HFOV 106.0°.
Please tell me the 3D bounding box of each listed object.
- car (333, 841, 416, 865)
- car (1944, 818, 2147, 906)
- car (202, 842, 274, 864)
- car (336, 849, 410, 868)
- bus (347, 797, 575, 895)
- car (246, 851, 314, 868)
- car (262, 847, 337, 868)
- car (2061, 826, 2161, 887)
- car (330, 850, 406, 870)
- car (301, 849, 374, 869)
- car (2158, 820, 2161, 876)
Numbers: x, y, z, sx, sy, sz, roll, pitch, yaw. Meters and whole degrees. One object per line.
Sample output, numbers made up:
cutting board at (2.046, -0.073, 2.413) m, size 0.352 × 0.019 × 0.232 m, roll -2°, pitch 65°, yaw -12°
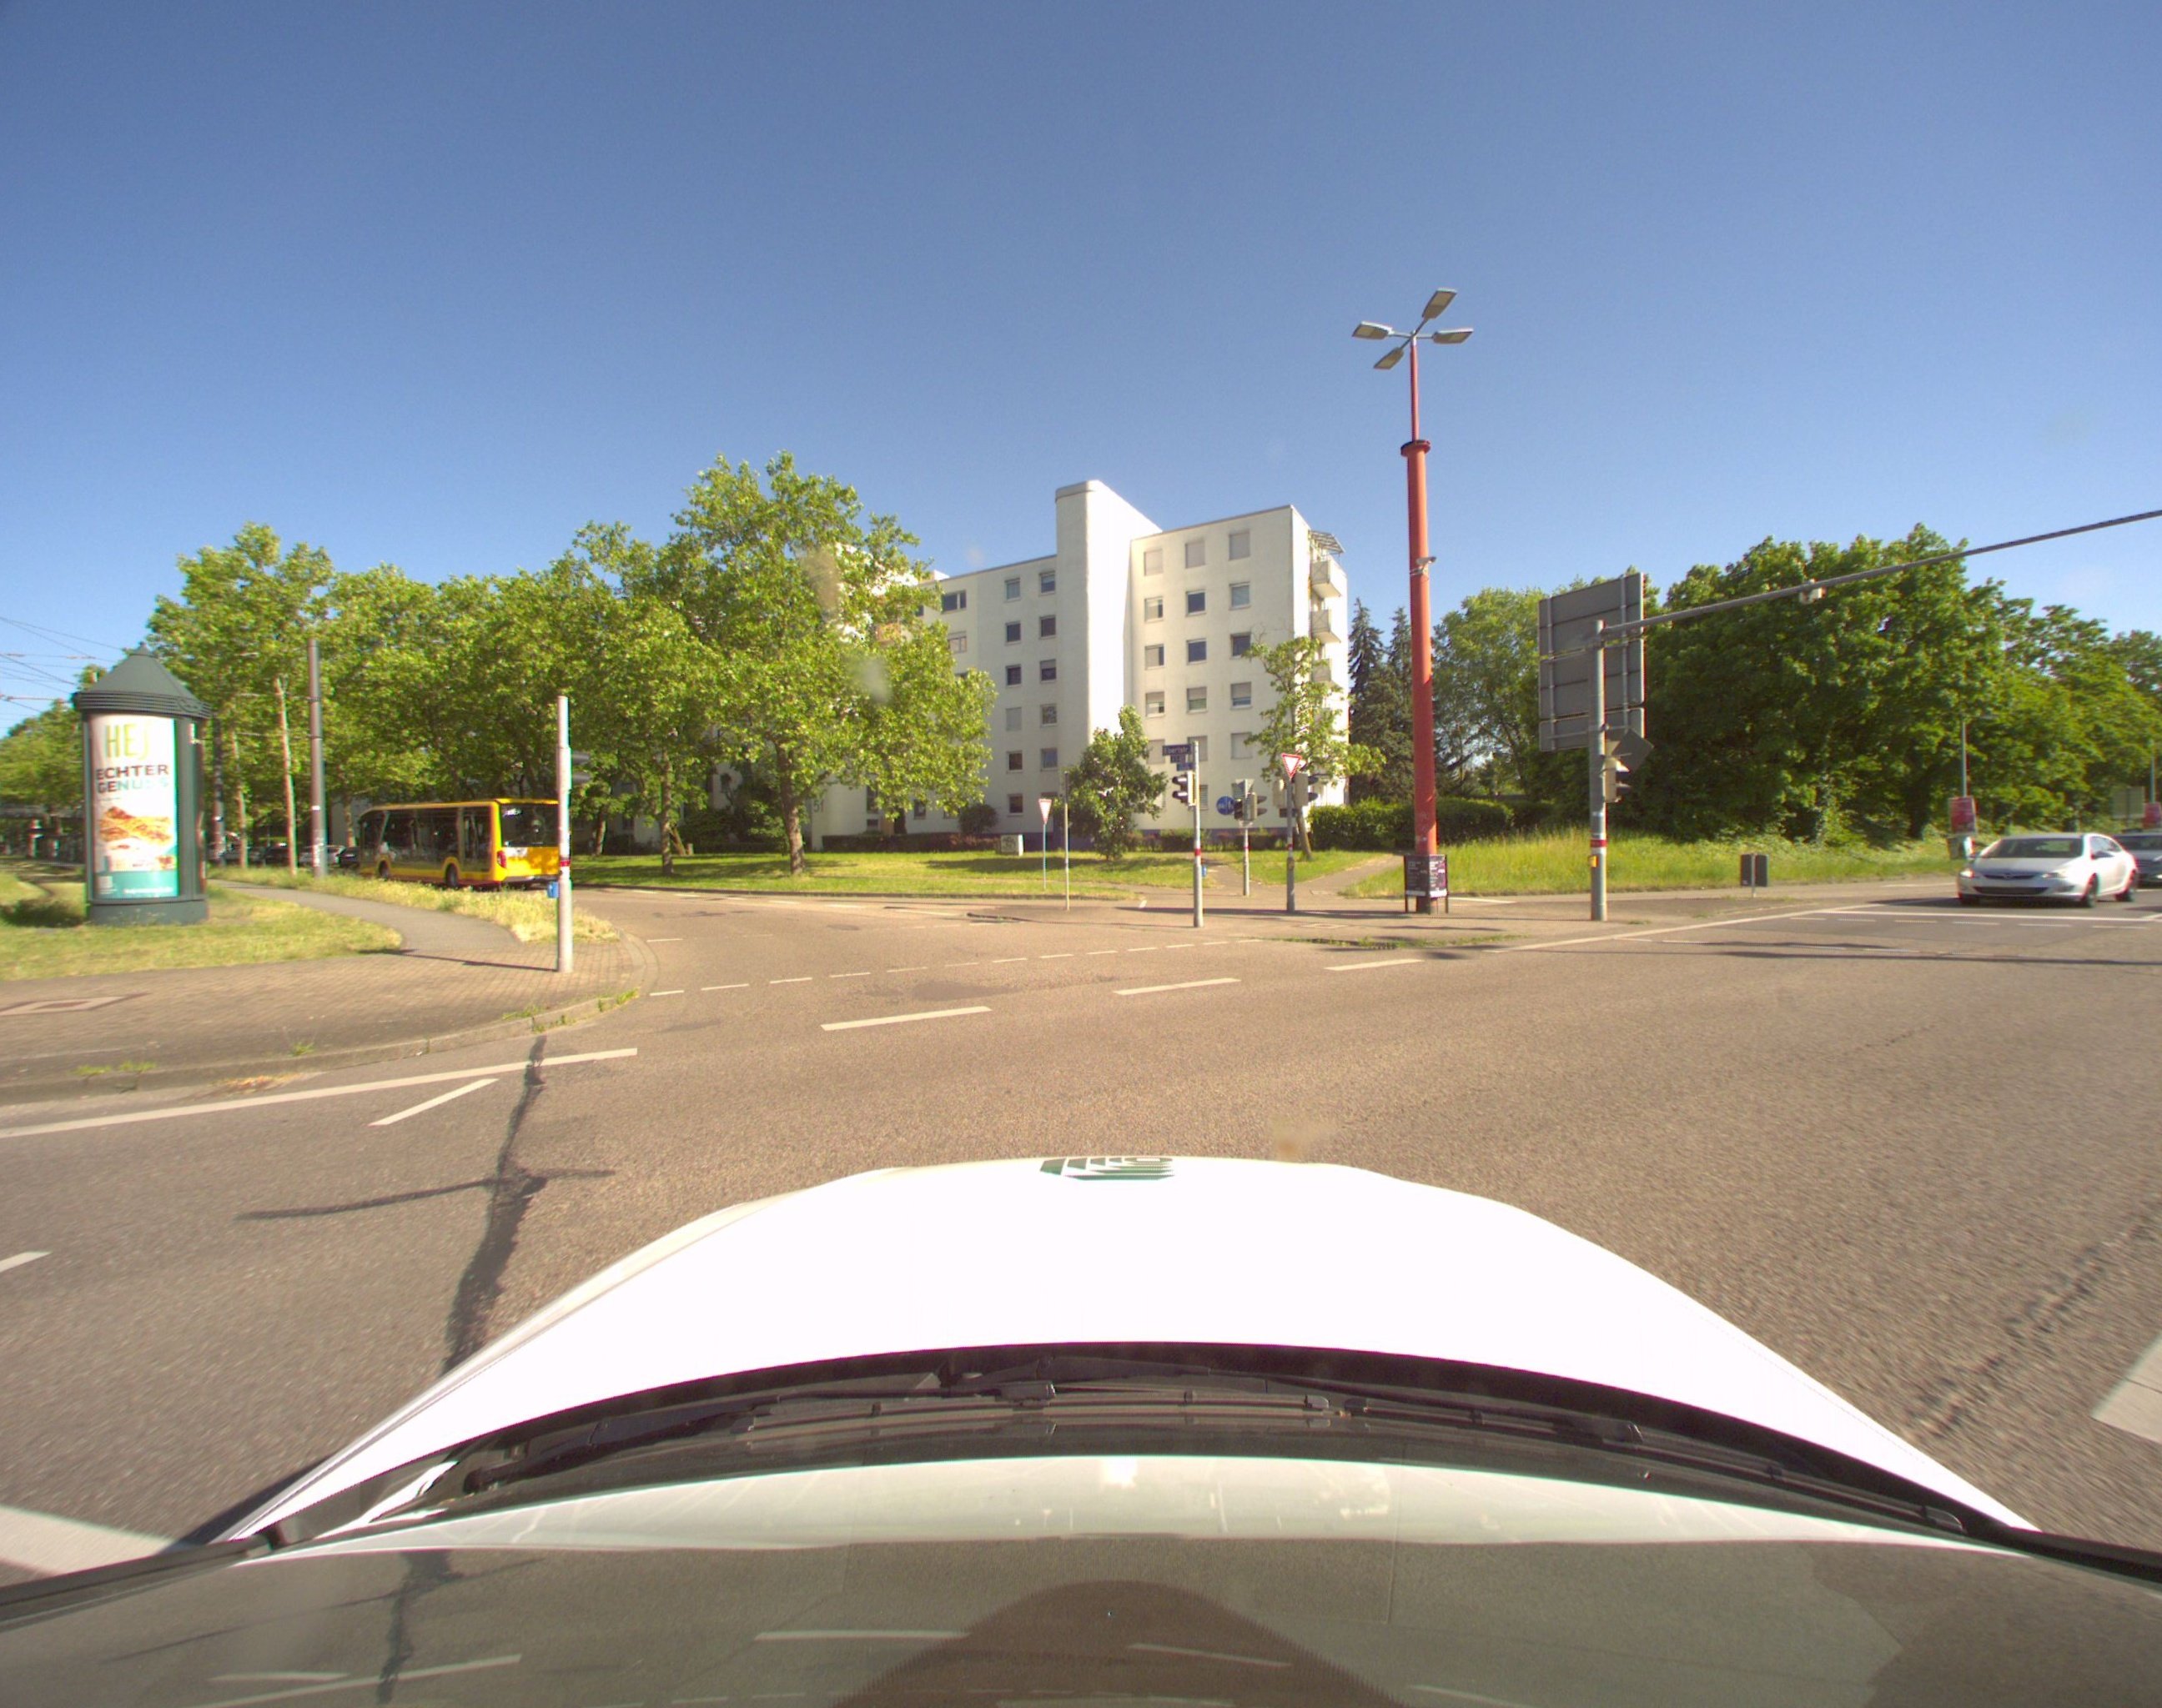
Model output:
car at (-47.591, -0.076, 54.944) m, size 3.924 × 1.592 × 1.655 m, roll 0°, pitch 2°, yaw -7°
car at (20.177, 0.125, 17.024) m, size 4.229 × 1.652 × 1.866 m, roll -1°, pitch 0°, yaw -28°
car at (-81.136, -0.127, 78.456) m, size 4.339 × 1.983 × 1.929 m, roll -1°, pitch 1°, yaw -18°
car at (-45.965, 0.304, 52.929) m, size 3.395 × 1.146 × 1.303 m, roll 0°, pitch 2°, yaw -12°
bus at (-24.346, -0.424, 31.582) m, size 12.375 × 3.260 × 2.671 m, roll 1°, pitch 2°, yaw 31°
car at (-61.627, 0.413, 62.723) m, size 3.420 × 1.188 × 1.437 m, roll -1°, pitch 2°, yaw -21°
car at (-58.273, 0.236, 60.805) m, size 3.646 × 1.460 × 1.606 m, roll 0°, pitch 2°, yaw -18°
car at (28.332, 0.035, 21.812) m, size 4.010 × 1.513 × 1.874 m, roll -1°, pitch 0°, yaw -28°
car at (-44.434, 0.377, 50.806) m, size 3.266 × 1.157 × 1.356 m, roll 0°, pitch 2°, yaw -11°
car at (-53.842, 0.341, 59.020) m, size 3.717 × 1.331 × 1.495 m, roll 0°, pitch 2°, yaw -7°
car at (34.302, -0.209, 24.523) m, size 3.986 × 1.652 × 1.766 m, roll 0°, pitch -2°, yaw -30°
